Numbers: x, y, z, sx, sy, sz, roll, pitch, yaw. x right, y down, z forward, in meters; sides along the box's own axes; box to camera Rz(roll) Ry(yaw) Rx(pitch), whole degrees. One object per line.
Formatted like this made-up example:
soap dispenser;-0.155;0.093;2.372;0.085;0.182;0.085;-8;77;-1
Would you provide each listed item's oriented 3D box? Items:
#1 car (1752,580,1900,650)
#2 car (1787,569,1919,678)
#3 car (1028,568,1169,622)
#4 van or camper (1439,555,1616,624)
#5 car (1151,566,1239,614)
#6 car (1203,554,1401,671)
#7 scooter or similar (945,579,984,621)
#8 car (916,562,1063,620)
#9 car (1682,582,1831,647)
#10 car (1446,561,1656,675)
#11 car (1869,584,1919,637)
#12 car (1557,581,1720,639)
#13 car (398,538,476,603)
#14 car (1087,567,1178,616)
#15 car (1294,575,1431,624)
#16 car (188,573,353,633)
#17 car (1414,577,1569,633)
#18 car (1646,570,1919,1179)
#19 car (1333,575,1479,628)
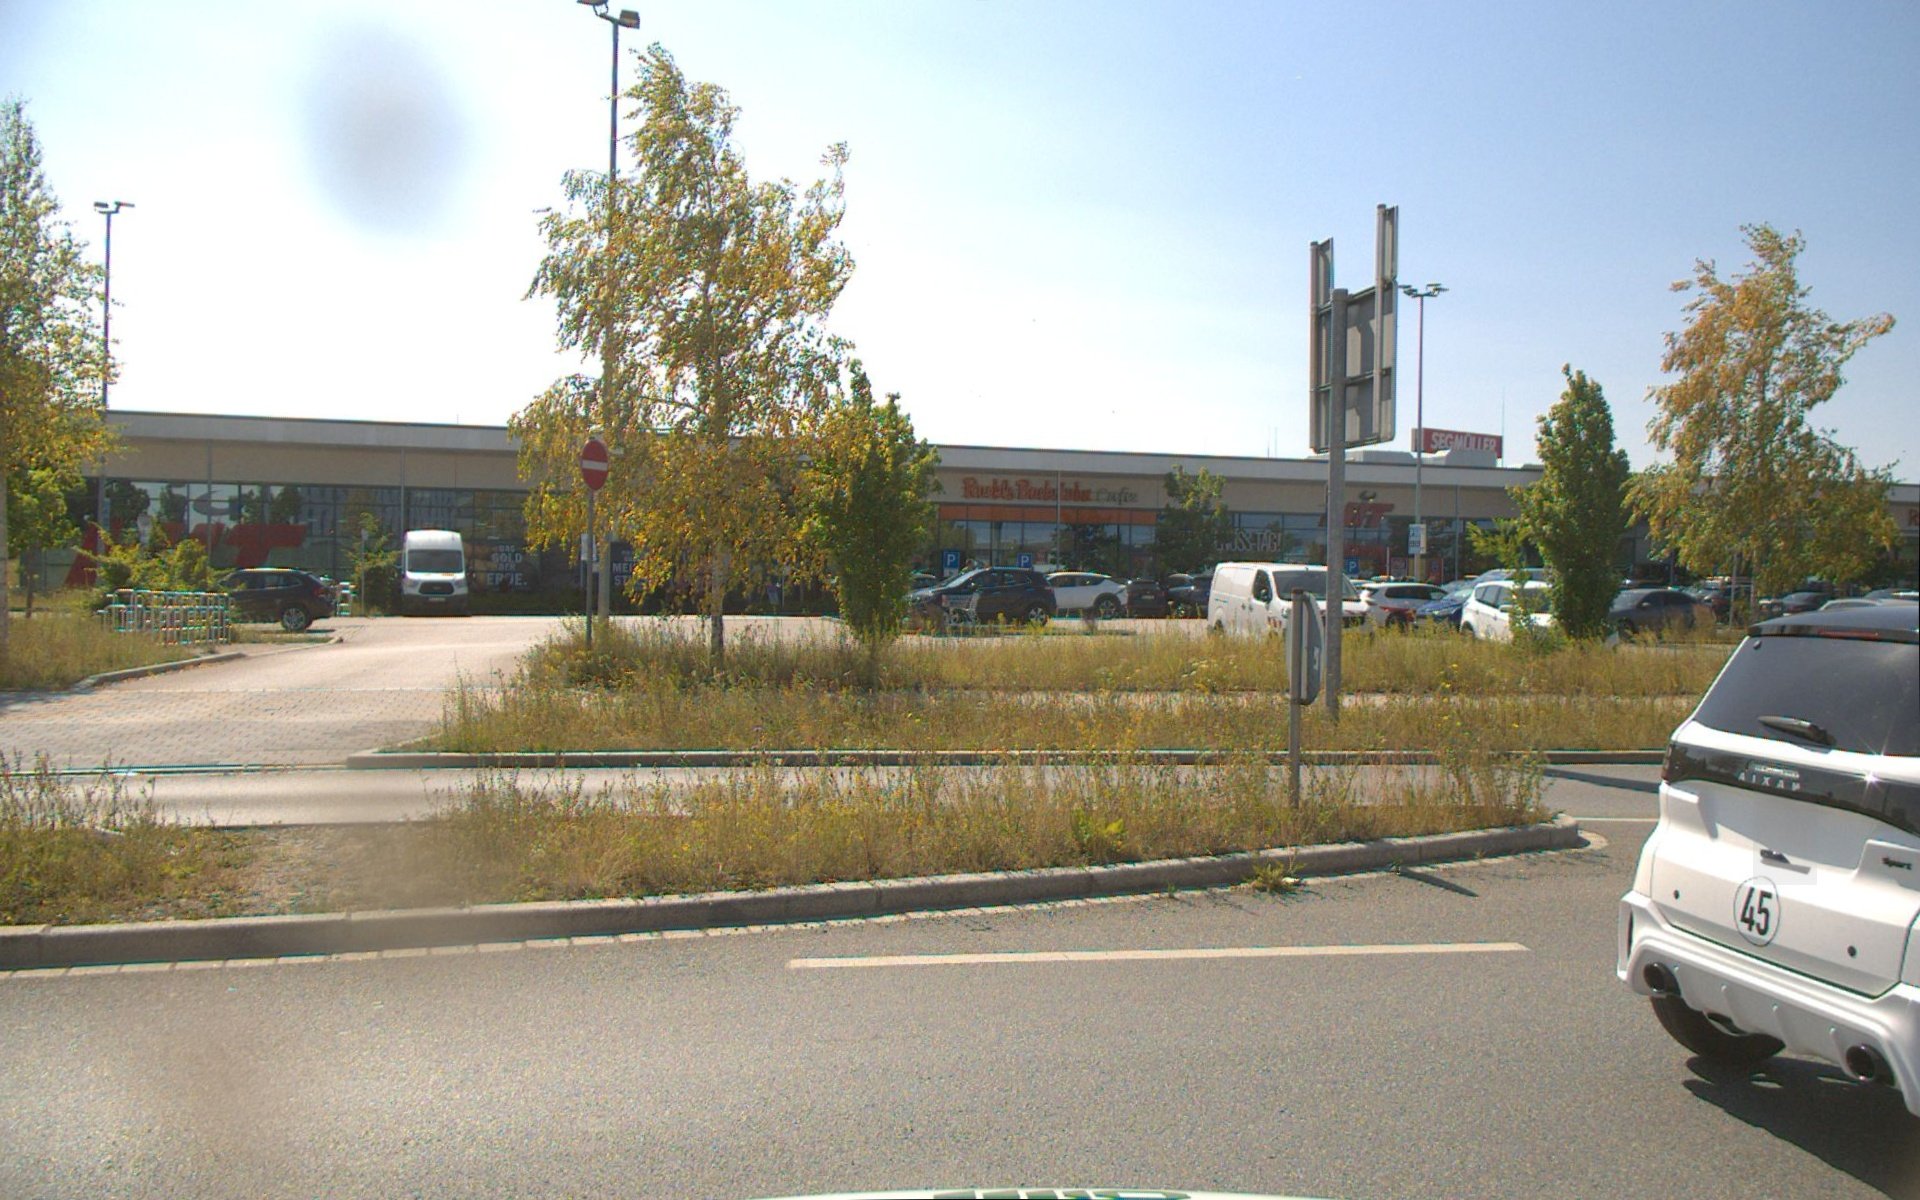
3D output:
car;28.737;0.494;54.898;4.408;2.230;1.986;1;0;-23
car;19.131;0.423;33.394;2.114;2.048;5.114;1;1;-2
car;4.667;-0.175;55.999;4.394;1.735;1.868;1;0;-14
van or camper;17.664;-0.334;51.542;4.951;2.049;1.993;0;1;-15
car;8.831;-0.400;62.490;1.959;1.737;3.987;0;1;-13
car;6.438;0.173;31.864;2.042;2.048;5.219;1;1;-9
scooter or similar;0.122;0.003;43.873;0.927;1.098;0.650;1;1;-12
car;0.811;-0.259;45.806;3.732;1.535;1.724;0;1;-17
car;27.854;0.500;57.866;4.392;2.139;1.994;1;0;-13
car;11.504;0.274;32.626;2.114;2.048;5.114;1;1;-2
car;29.911;0.330;50.046;4.263;1.546;1.649;1;0;-15
car;18.982;0.284;46.305;3.921;1.534;1.867;1;0;-15
car;-17.328;-0.976;54.618;2.190;2.011;6.657;0;1;-20
car;6.370;-0.331;61.480;1.962;1.737;3.981;0;1;-17
car;12.012;-0.019;49.383;3.665;1.415;1.722;0;1;-20
car;-17.601;0.069;42.395;3.776;1.448;1.762;1;0;-21
car;14.172;0.123;44.145;3.665;1.415;1.722;0;1;-20
car;3.769;0.706;4.819;2.937;1.516;1.475;1;1;-11
car;12.502;0.033;46.382;3.665;1.415;1.722;0;1;-20
